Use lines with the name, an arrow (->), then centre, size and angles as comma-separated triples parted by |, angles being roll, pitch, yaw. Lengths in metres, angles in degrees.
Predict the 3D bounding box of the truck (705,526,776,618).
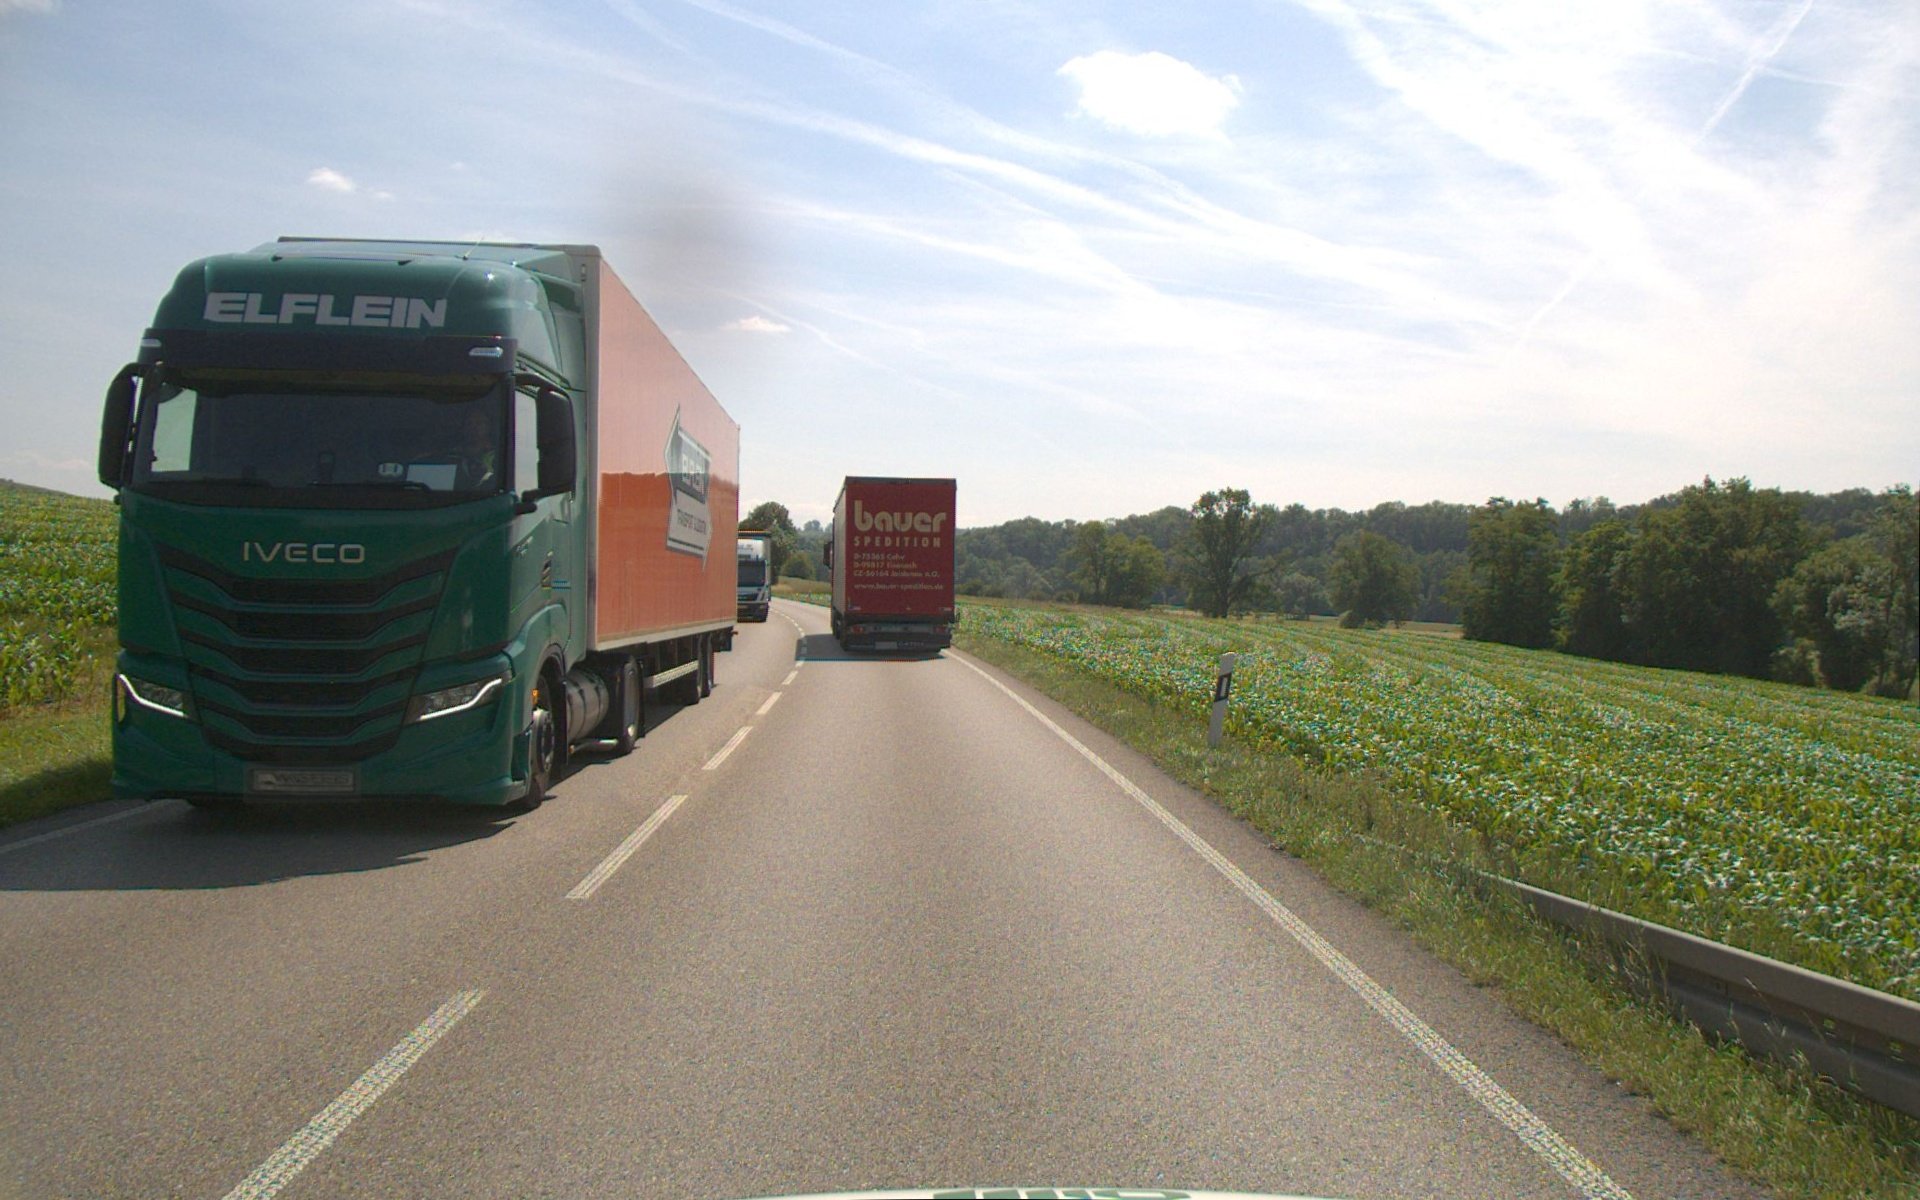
truck -> -9.325, -1.166, 70.964 | 2.688, 3.641, 9.714 | 1, 0, -6

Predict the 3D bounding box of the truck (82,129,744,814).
truck -> -4.385, -0.828, 18.447 | 2.716, 4.068, 17.015 | 1, 0, -4

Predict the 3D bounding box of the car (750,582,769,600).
car -> -18.272, -0.819, 150.680 | 1.552, 1.527, 3.869 | 1, 0, -8

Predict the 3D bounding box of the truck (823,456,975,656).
truck -> -1.692, -0.971, 40.721 | 3.035, 4.337, 8.302 | 1, 0, -7

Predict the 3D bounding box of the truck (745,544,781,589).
truck -> -20.942, -3.466, 175.433 | 3.571, 4.367, 11.964 | 0, 0, -8
